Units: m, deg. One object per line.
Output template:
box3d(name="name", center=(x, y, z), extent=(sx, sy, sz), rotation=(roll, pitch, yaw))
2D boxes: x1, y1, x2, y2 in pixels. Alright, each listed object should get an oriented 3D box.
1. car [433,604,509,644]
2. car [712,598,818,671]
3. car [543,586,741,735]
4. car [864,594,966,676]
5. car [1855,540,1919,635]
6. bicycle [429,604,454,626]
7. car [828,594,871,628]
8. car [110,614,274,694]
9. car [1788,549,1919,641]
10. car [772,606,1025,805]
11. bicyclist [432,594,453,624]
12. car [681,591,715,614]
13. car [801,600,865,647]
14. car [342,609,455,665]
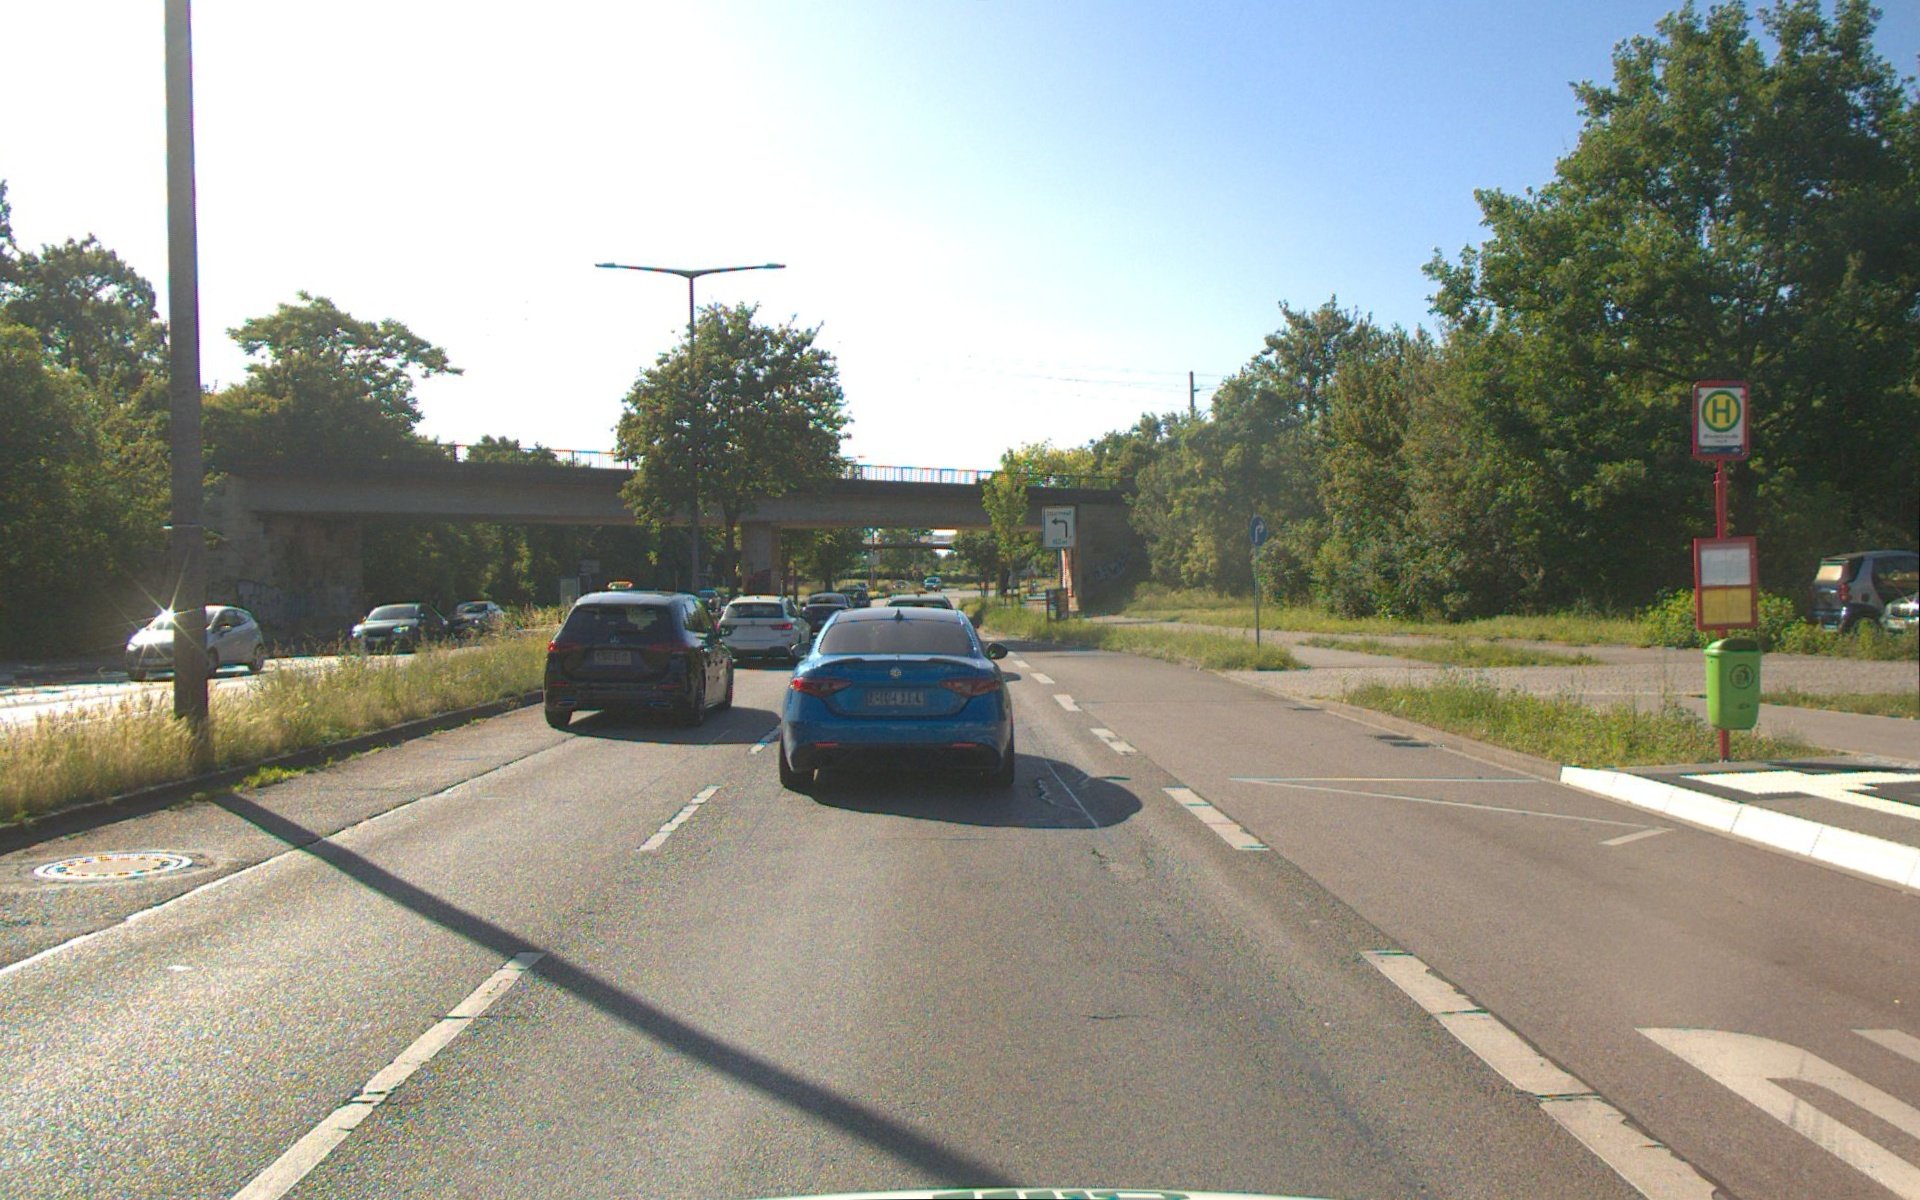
box3d(name="car", center=(-20.353, 0.971, 68.996), extent=(1.876, 1.480, 4.488), rotation=(-3, 0, -1))
box3d(name="car", center=(-4.174, 0.702, 36.001), extent=(1.845, 1.479, 4.525), rotation=(0, 0, -1))
box3d(name="car", center=(-3.762, 0.662, 20.217), extent=(1.673, 1.626, 4.223), rotation=(0, 0, -1))
box3d(name="car", center=(-0.861, 0.625, 32.190), extent=(1.845, 1.479, 4.525), rotation=(0, 0, -1))
box3d(name="car", center=(16.127, -0.176, 25.971), extent=(3.216, 1.442, 1.728), rotation=(0, 0, 0))
box3d(name="bicycle", center=(-24.564, 0.712, 78.417), extent=(0.669, 1.048, 1.714), rotation=(0, 0, -1))
box3d(name="car", center=(-4.997, 0.467, 75.046), extent=(1.743, 1.479, 4.181), rotation=(-1, 0, -1))
box3d(name="car", center=(-16.244, 1.089, 35.206), extent=(1.608, 1.476, 4.110), rotation=(-3, 0, -1))
box3d(name="car", center=(16.103, -0.076, 28.082), extent=(3.216, 1.512, 1.772), rotation=(0, 0, 0))
box3d(name="car", center=(-0.494, 0.782, 14.227), extent=(1.845, 1.431, 4.223), rotation=(0, 0, -1))
box3d(name="bicyclist", center=(-24.558, 0.416, 78.480), extent=(0.666, 1.426, 1.026), rotation=(0, 0, -2))
box3d(name="car", center=(-18.112, 0.162, 114.554), extent=(1.779, 1.467, 4.088), rotation=(-2, 0, -1))
box3d(name="car", center=(-4.113, 0.733, 54.149), extent=(1.845, 1.479, 4.525), rotation=(0, 0, -1))
box3d(name="car", center=(-16.546, 1.049, 48.954), extent=(1.781, 1.460, 4.629), rotation=(-3, 0, -1))
